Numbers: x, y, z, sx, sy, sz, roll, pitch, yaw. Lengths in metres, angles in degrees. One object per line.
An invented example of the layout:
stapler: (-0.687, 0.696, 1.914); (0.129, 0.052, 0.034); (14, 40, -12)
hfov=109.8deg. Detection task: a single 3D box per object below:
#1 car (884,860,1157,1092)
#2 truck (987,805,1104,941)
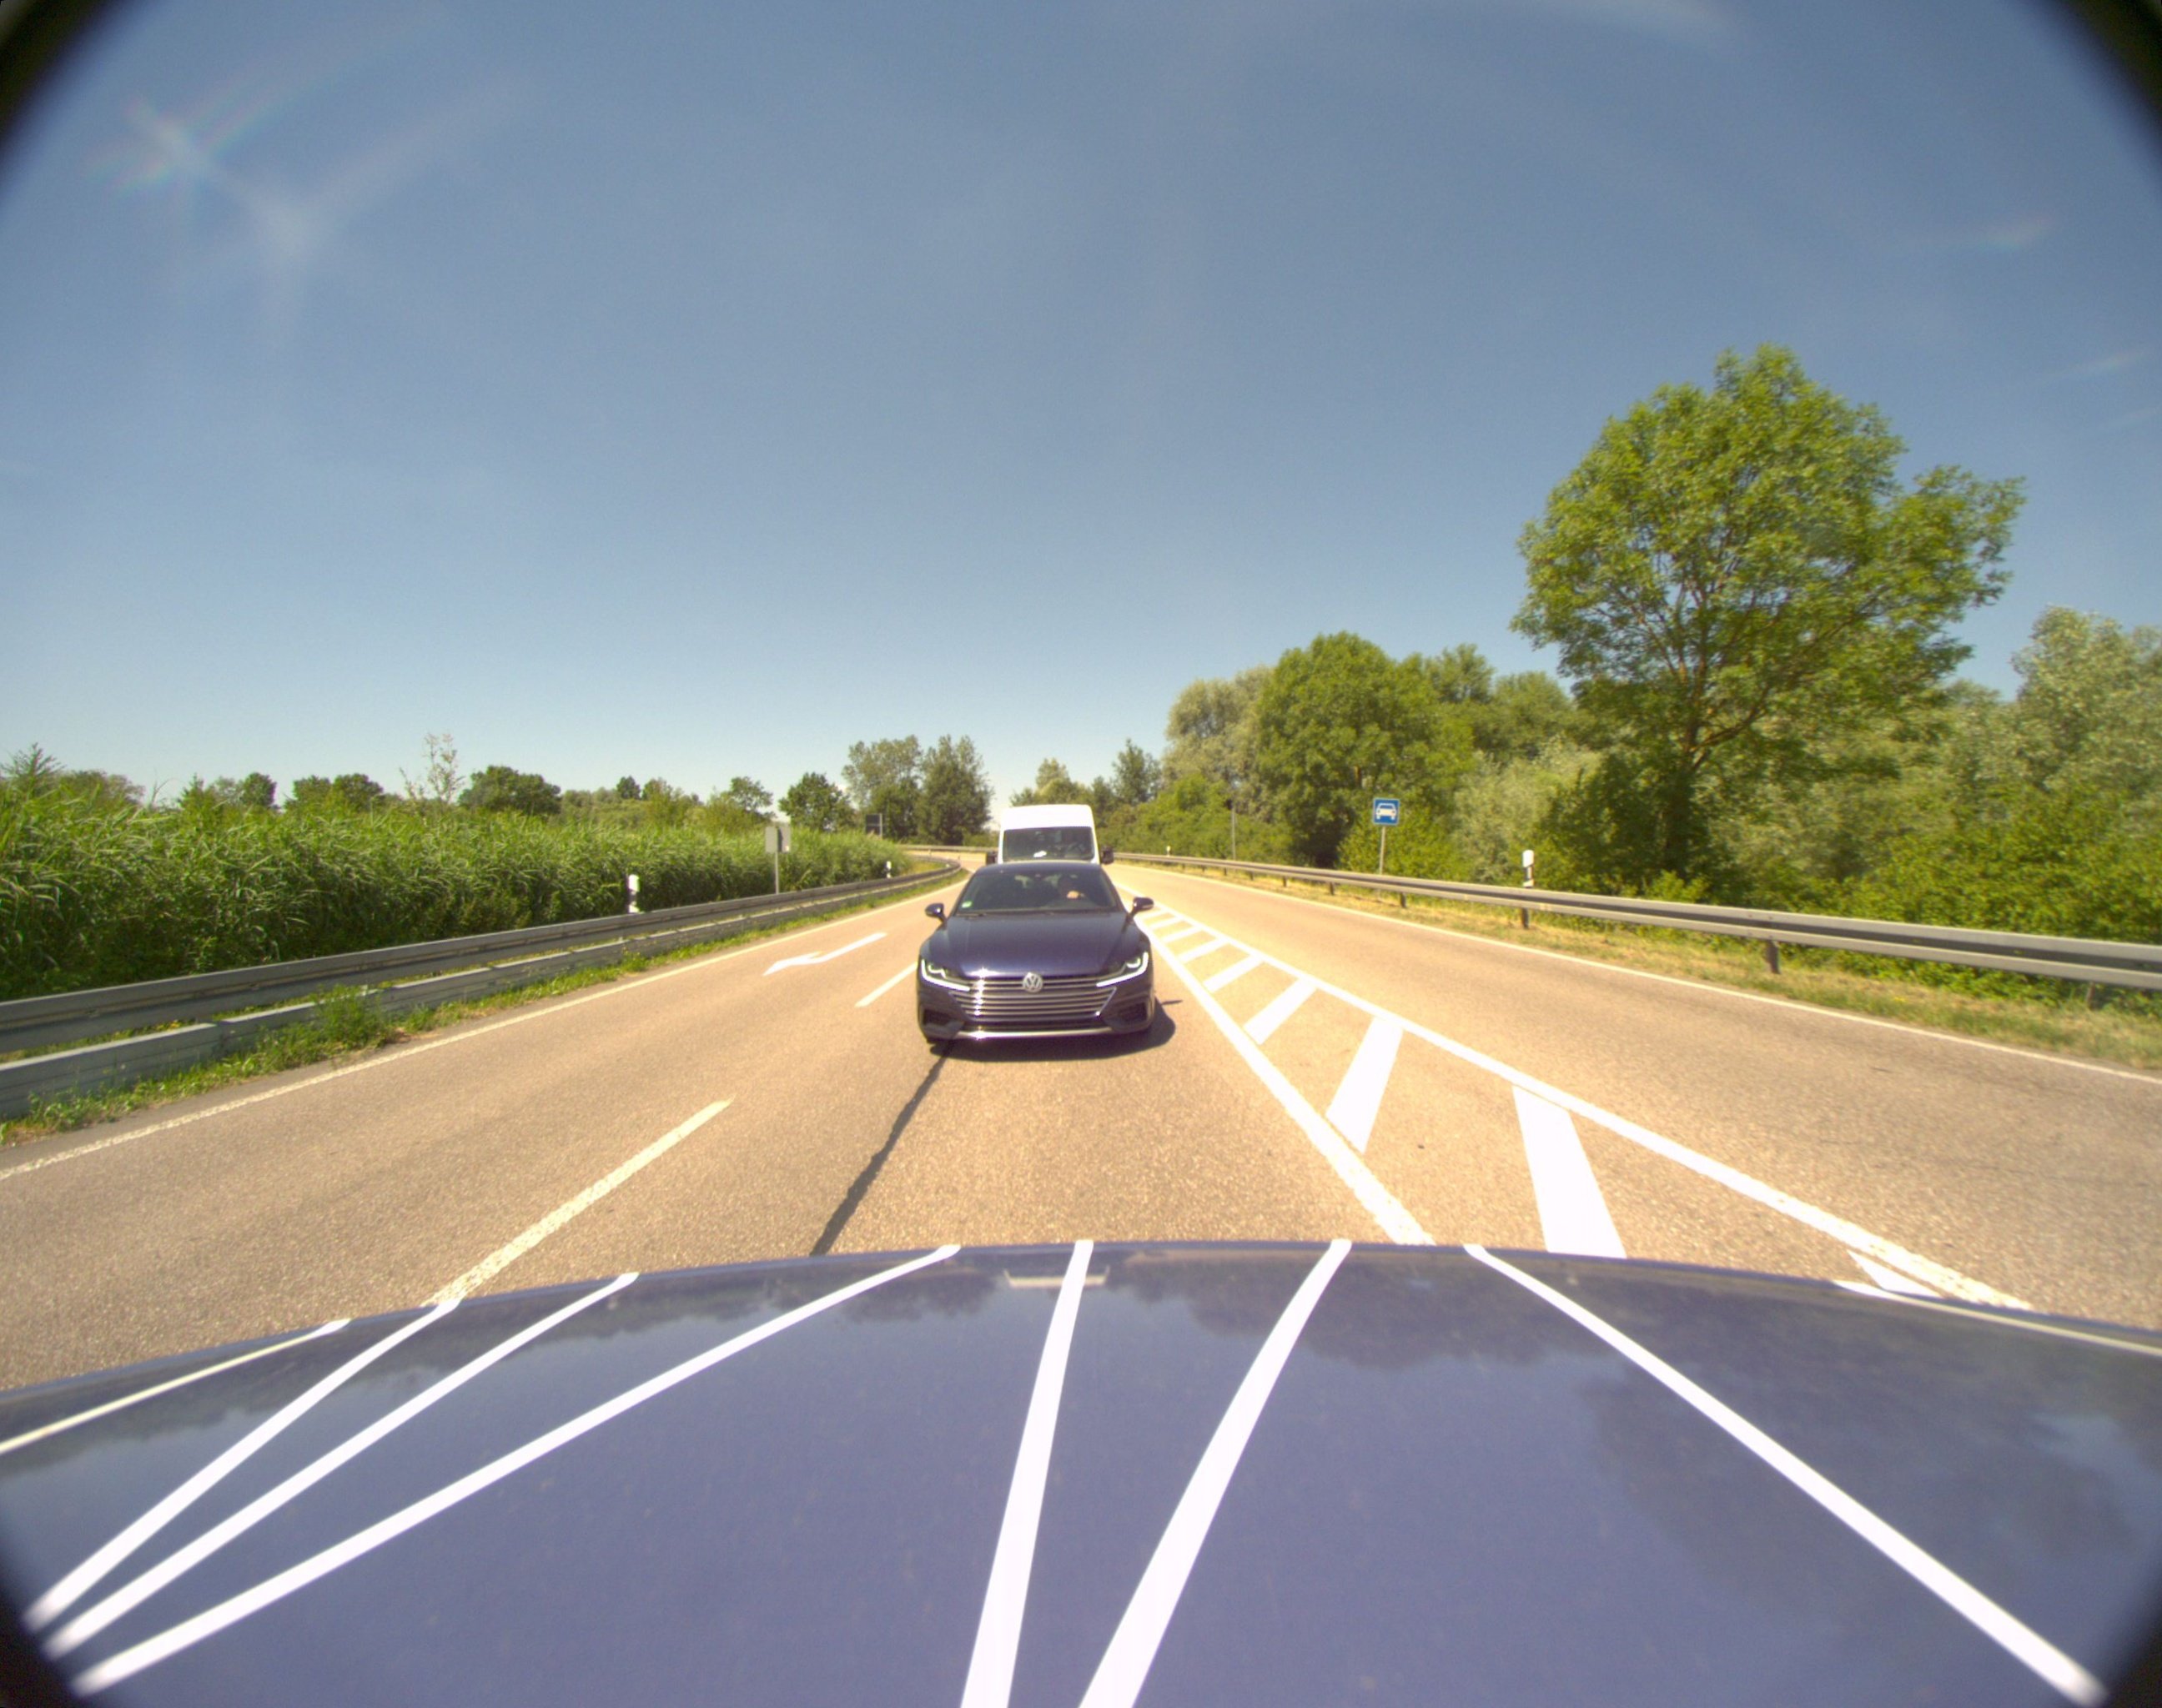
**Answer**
car: (-0.382, 0.854, 7.387); (1.819, 1.454, 4.415); (-2, 1, 1)
truck: (-0.812, 0.302, 16.464); (2.011, 2.365, 5.909); (-2, 1, -4)
